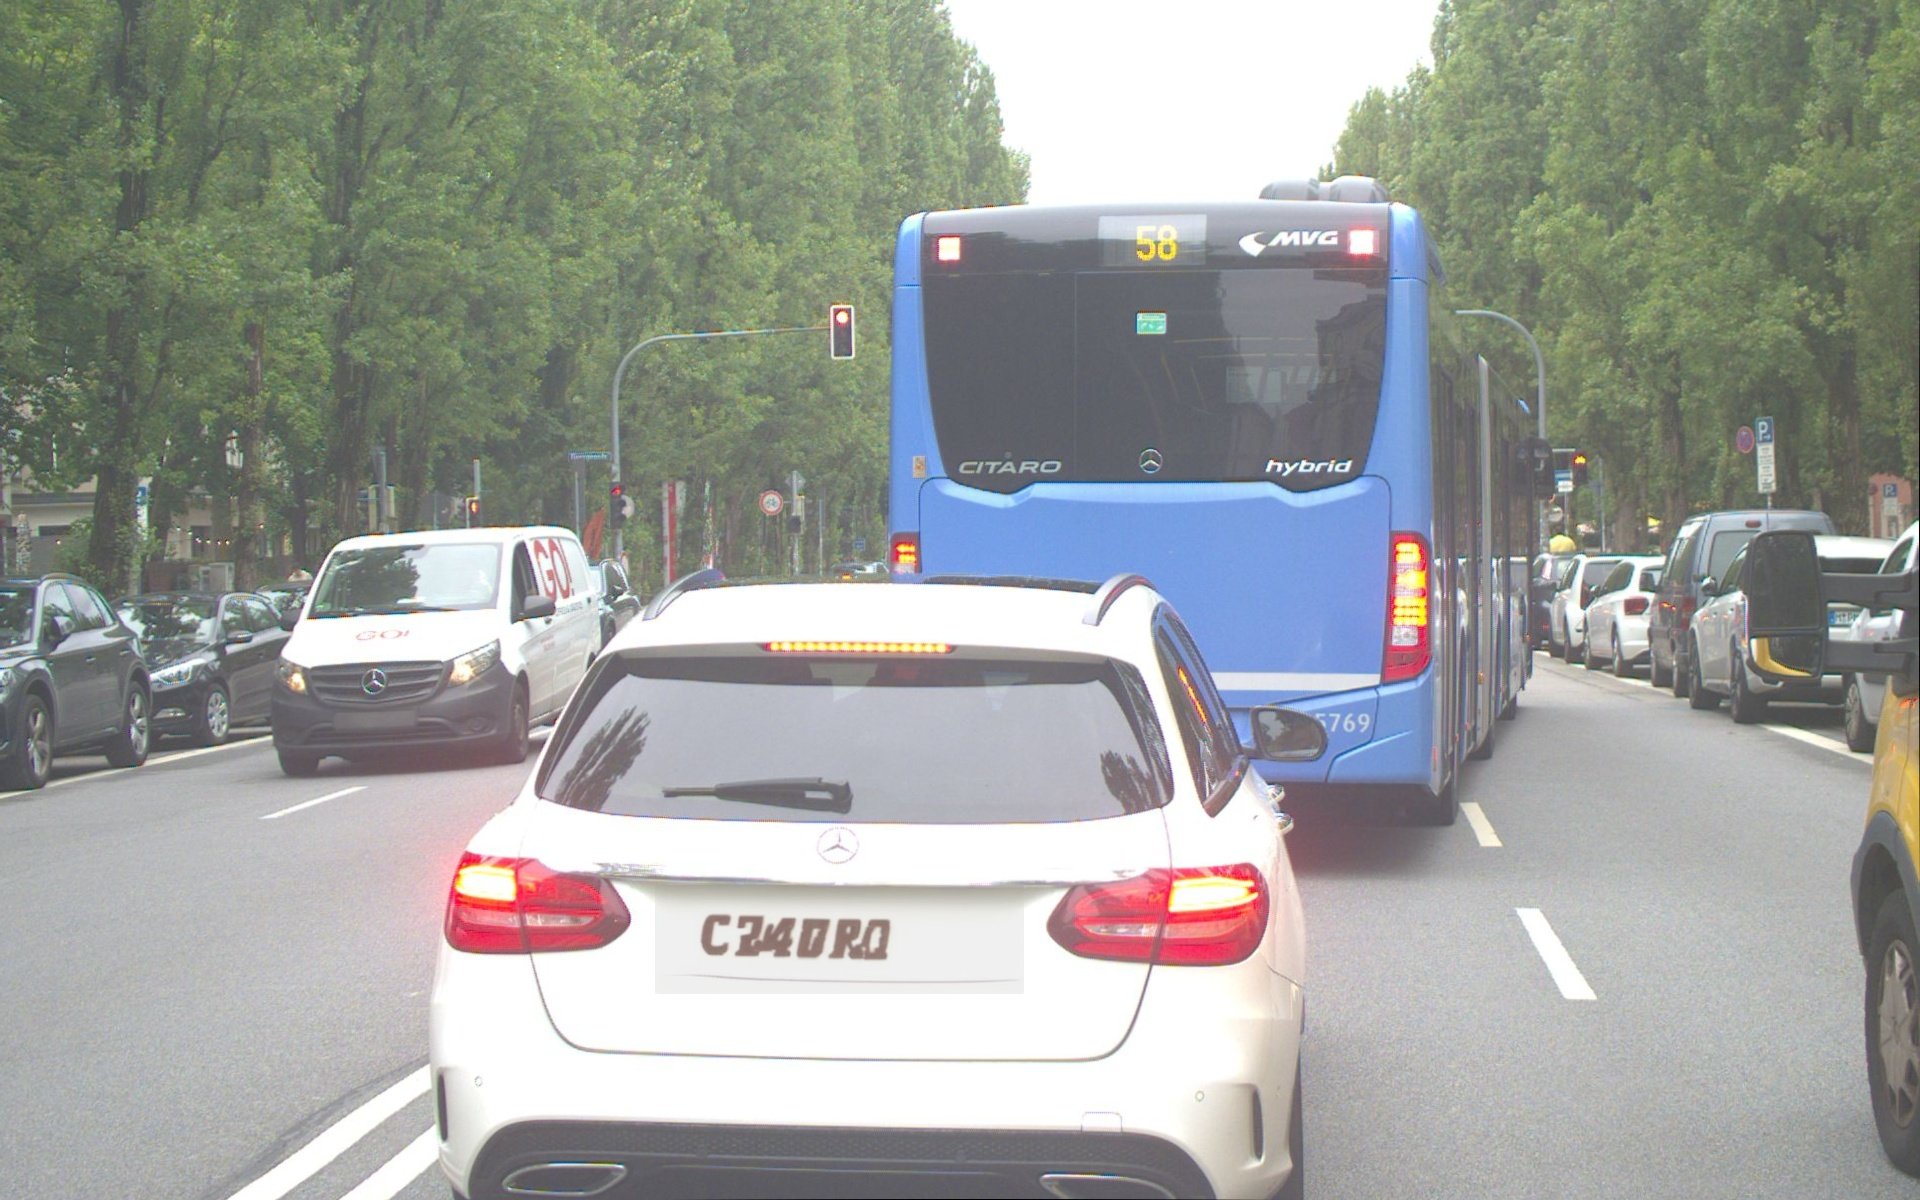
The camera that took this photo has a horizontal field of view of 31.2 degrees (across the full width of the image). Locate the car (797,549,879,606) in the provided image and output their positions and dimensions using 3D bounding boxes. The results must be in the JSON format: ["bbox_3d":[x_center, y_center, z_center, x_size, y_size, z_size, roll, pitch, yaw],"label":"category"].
[{"bbox_3d":[-3.335,-0.637,94.618,1.821,1.481,4.000,-1,1,4],"label":"car"}]

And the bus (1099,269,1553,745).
[{"bbox_3d":[3.378,-0.725,28.897,2.873,3.292,9.785,-1,1,11],"label":"bus"}]

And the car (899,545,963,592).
[{"bbox_3d":[-0.930,-1.041,113.649,1.821,1.481,4.000,-1,1,4],"label":"car"}]

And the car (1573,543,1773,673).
[{"bbox_3d":[8.664,0.063,42.043,1.799,1.470,4.000,-1,1,3],"label":"car"}]

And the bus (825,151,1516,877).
[{"bbox_3d":[1.640,-0.464,19.888,2.857,3.202,9.056,0,1,11],"label":"bus"}]

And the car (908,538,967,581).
[{"bbox_3d":[-0.794,-1.454,122.991,1.821,1.481,4.000,-1,1,4],"label":"car"}]

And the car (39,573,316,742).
[{"bbox_3d":[-7.559,0.514,33.551,1.539,1.428,3.869,-4,1,3],"label":"car"}]

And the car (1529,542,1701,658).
[{"bbox_3d":[8.937,-0.034,47.179,1.786,1.486,4.000,-1,1,3],"label":"car"}]

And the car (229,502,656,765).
[{"bbox_3d":[-4.146,0.206,28.684,2.183,1.885,5.695,-3,1,5],"label":"car"}]

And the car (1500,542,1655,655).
[{"bbox_3d":[9.351,-0.060,52.325,1.809,1.612,4.000,-1,1,3],"label":"car"}]

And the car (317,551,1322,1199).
[{"bbox_3d":[-0.050,0.605,8.480,1.826,1.449,4.582,0,1,5],"label":"car"}]

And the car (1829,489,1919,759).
[{"bbox_3d":[7.268,0.160,23.354,1.833,1.767,4.230,1,1,3],"label":"car"}]

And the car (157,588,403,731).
[{"bbox_3d":[-7.425,0.614,37.898,1.675,1.408,4.000,-2,1,3],"label":"car"}]

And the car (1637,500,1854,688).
[{"bbox_3d":[8.115,-0.099,35.796,1.704,1.829,3.999,1,1,6],"label":"car"}]

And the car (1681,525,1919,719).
[{"bbox_3d":[7.532,0.143,30.519,1.677,1.590,4.086,1,1,4],"label":"car"}]

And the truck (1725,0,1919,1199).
[{"bbox_3d":[3.106,-0.050,5.769,2.328,2.888,7.332,-1,1,3],"label":"truck"}]

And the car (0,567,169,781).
[{"bbox_3d":[-7.830,0.578,27.297,1.791,1.542,4.338,-4,1,3],"label":"car"}]
